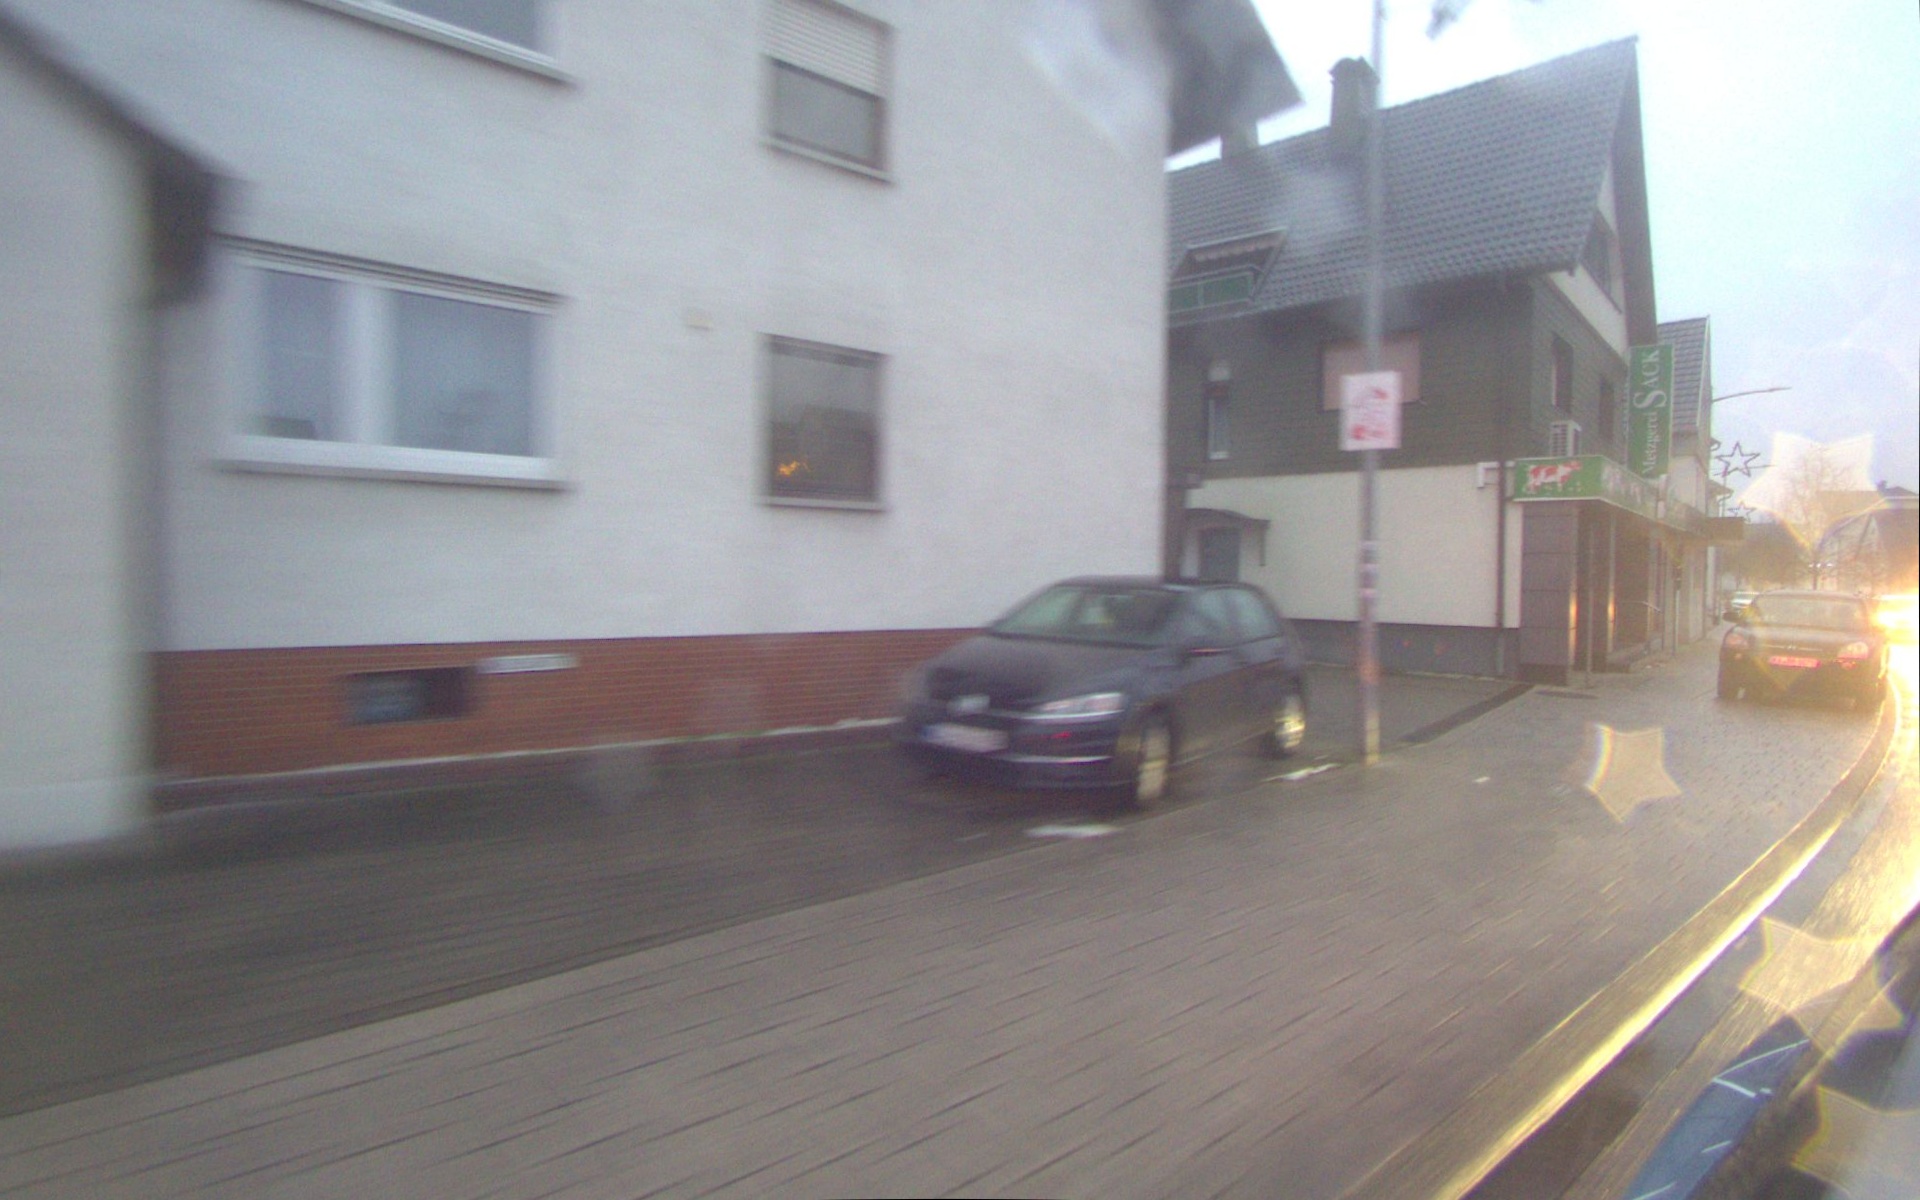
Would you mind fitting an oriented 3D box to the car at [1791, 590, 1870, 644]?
[{"bbox_3d":[27.196,0.479,31.704,1.650,1.472,4.178,5,3,39],"label":"car"}]

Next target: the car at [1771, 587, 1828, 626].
[{"bbox_3d":[37.677,0.241,45.486,1.660,1.595,4.438,2,2,36],"label":"car"}]

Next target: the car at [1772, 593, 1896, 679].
[{"bbox_3d":[16.921,0.637,19.609,1.645,1.432,2.686,5,3,42],"label":"car"}]

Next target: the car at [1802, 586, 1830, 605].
[{"bbox_3d":[72.905,-0.408,86.252,1.729,1.556,3.727,-1,0,40],"label":"car"}]

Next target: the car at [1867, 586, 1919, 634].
[{"bbox_3d":[34.191,0.323,36.380,1.896,1.660,4.507,1,1,36],"label":"car"}]

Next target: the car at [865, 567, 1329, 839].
[{"bbox_3d":[1.252,0.522,7.593,1.762,1.410,3.862,4,3,37],"label":"car"}]

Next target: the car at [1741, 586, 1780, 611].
[{"bbox_3d":[53.770,-0.148,68.038,1.802,1.583,4.250,2,2,36],"label":"car"}]

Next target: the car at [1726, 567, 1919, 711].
[{"bbox_3d":[13.139,0.487,15.311,3.933,1.803,1.772,0,4,-44],"label":"car"}]
